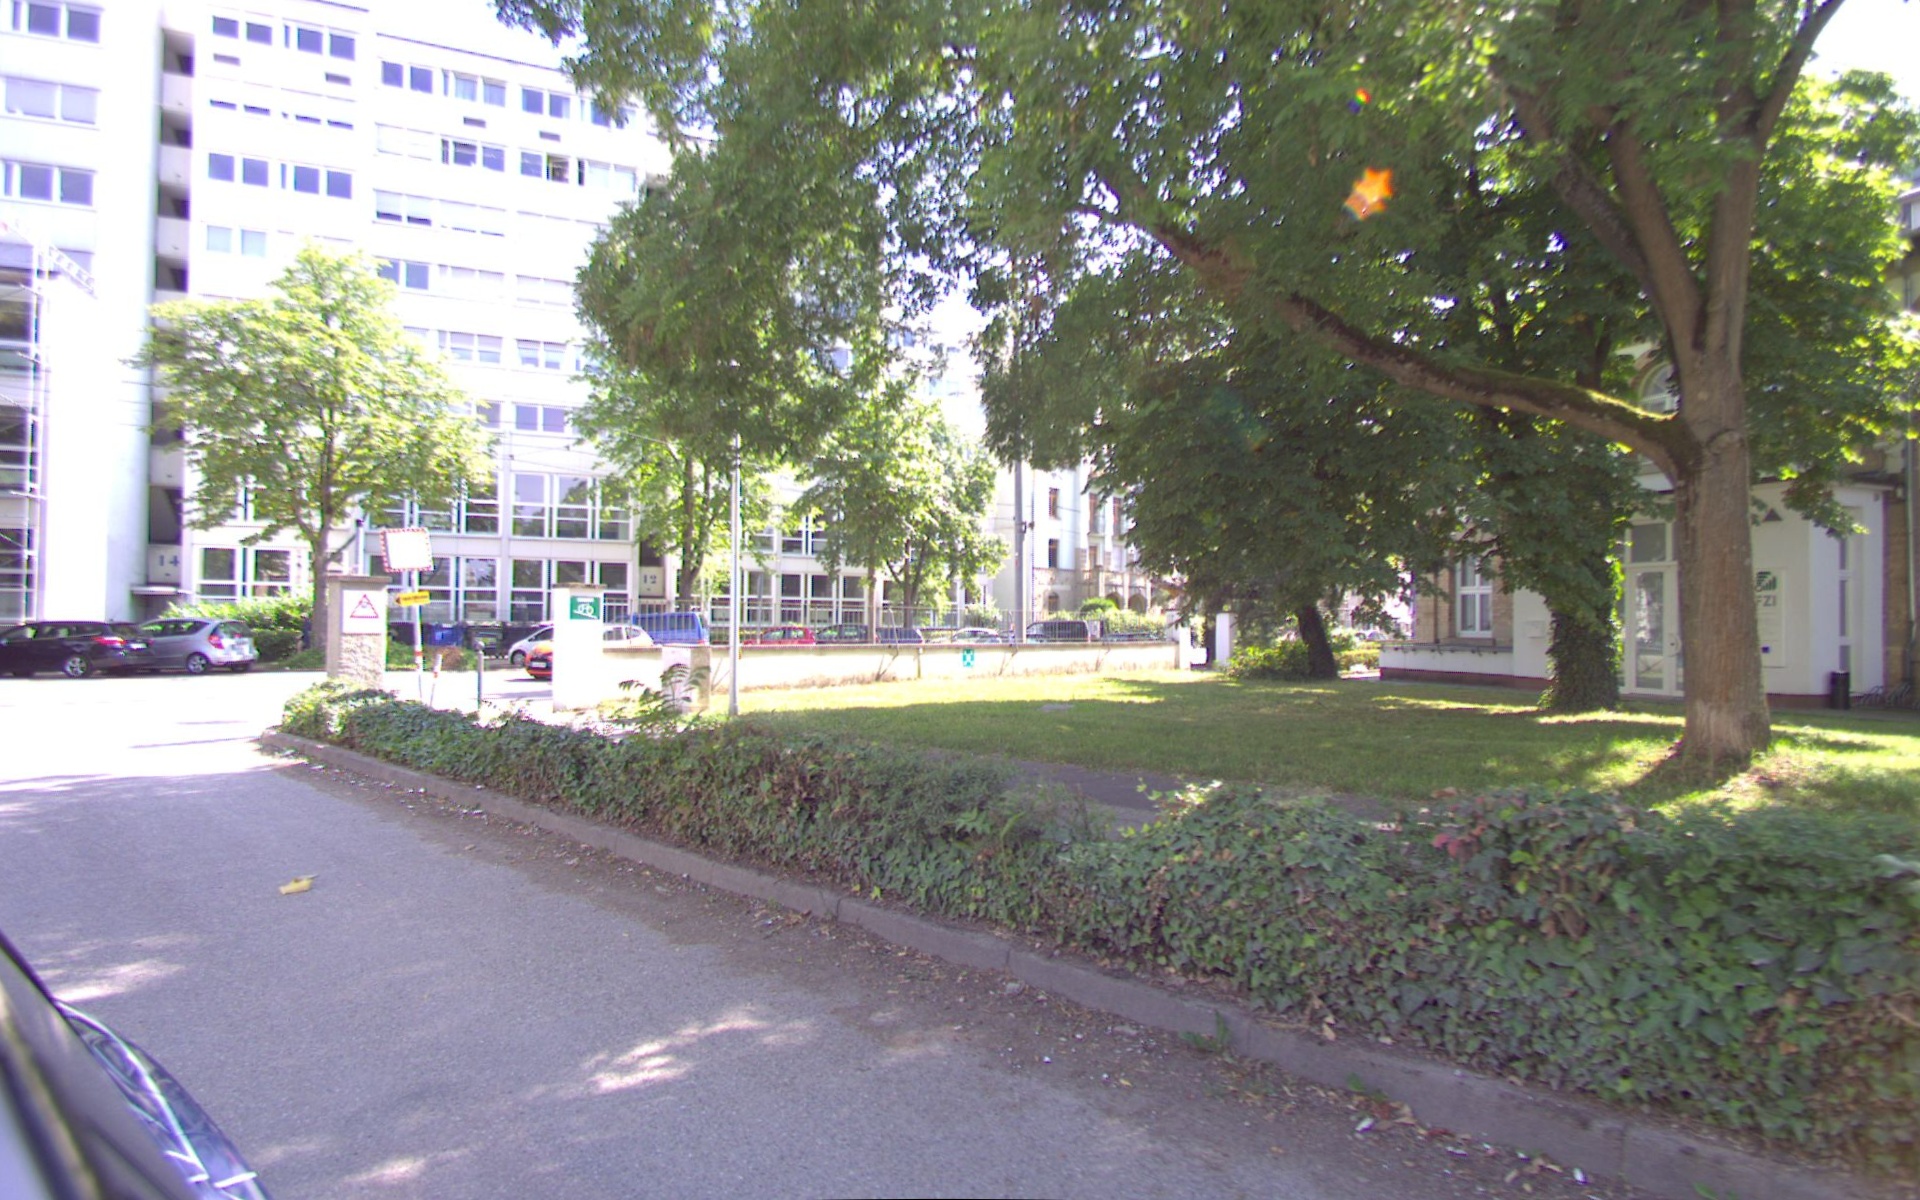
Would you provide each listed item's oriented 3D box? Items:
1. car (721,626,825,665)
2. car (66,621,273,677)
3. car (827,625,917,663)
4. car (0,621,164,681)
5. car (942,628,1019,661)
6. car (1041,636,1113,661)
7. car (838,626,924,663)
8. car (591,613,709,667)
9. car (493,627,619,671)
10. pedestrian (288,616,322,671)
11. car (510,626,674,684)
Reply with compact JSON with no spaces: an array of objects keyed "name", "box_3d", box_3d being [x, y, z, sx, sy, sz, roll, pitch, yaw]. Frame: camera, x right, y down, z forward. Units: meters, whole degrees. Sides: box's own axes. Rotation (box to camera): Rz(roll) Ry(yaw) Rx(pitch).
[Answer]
[{"name":"car","box_3d":[-7.845,1.910,42.749,4.157,1.550,1.784,0,-2,-4]},{"name":"car","box_3d":[-21.911,1.346,28.200,4.275,1.497,1.803,0,-2,-3]},{"name":"car","box_3d":[-3.911,1.950,45.116,3.940,1.652,1.805,0,-2,-4]},{"name":"car","box_3d":[-23.186,1.286,25.866,4.120,1.487,1.804,0,-2,-6]},{"name":"car","box_3d":[1.068,2.292,52.813,3.944,1.674,1.829,0,-2,0]},{"name":"car","box_3d":[6.844,2.862,59.376,3.941,1.428,1.786,0,-2,-2]},{"name":"car","box_3d":[-3.712,2.088,47.428,3.940,1.652,1.834,0,-2,-4]},{"name":"car","box_3d":[-11.556,1.504,37.961,3.940,1.921,1.788,0,-2,-4]},{"name":"car","box_3d":[-14.182,1.699,35.634,3.805,1.475,1.706,0,-2,8]},{"name":"pedestrian","box_3d":[-21.579,1.434,33.335,0.731,1.790,0.743,-2,-3,40]},{"name":"car","box_3d":[-9.693,1.426,26.976,1.654,1.423,4.137,-2,-2,26]}]
